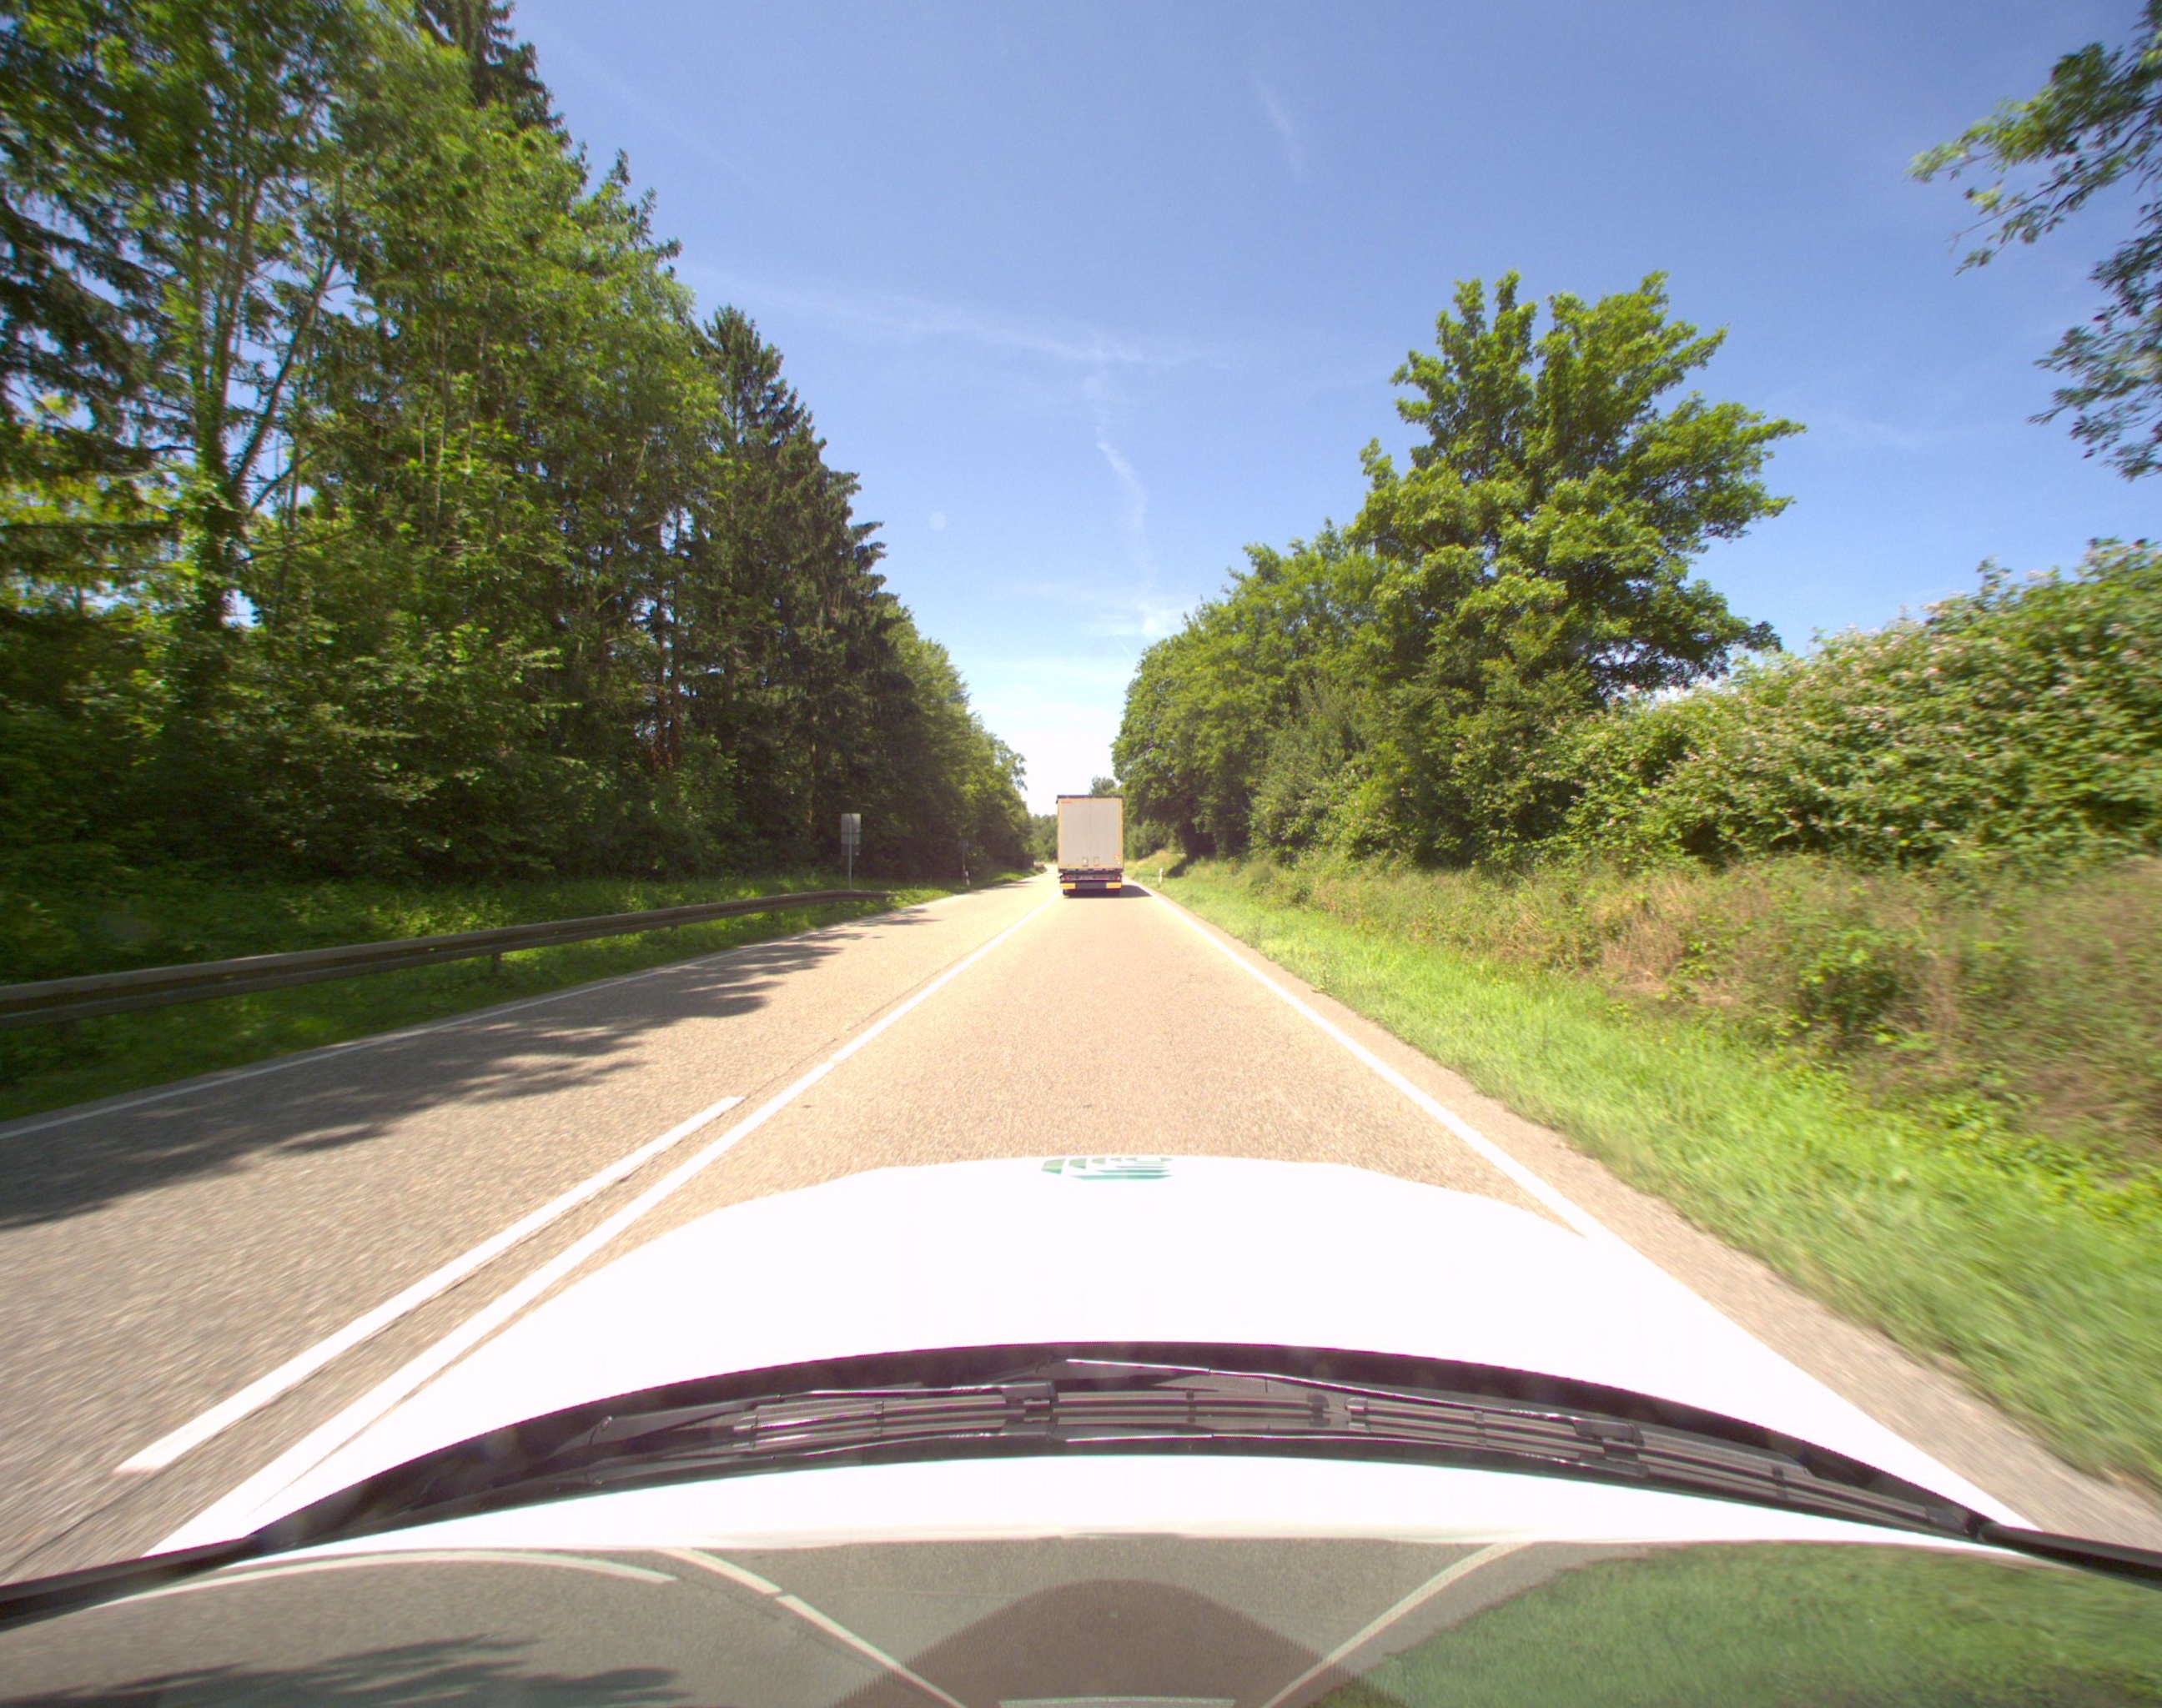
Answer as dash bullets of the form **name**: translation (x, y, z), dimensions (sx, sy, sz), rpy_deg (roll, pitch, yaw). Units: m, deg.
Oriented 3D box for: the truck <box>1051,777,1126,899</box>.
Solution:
- **truck**: translation (0.443, -0.583, 34.534), dimensions (2.811, 4.604, 6.669), rpy_deg (-1, -1, 3)
